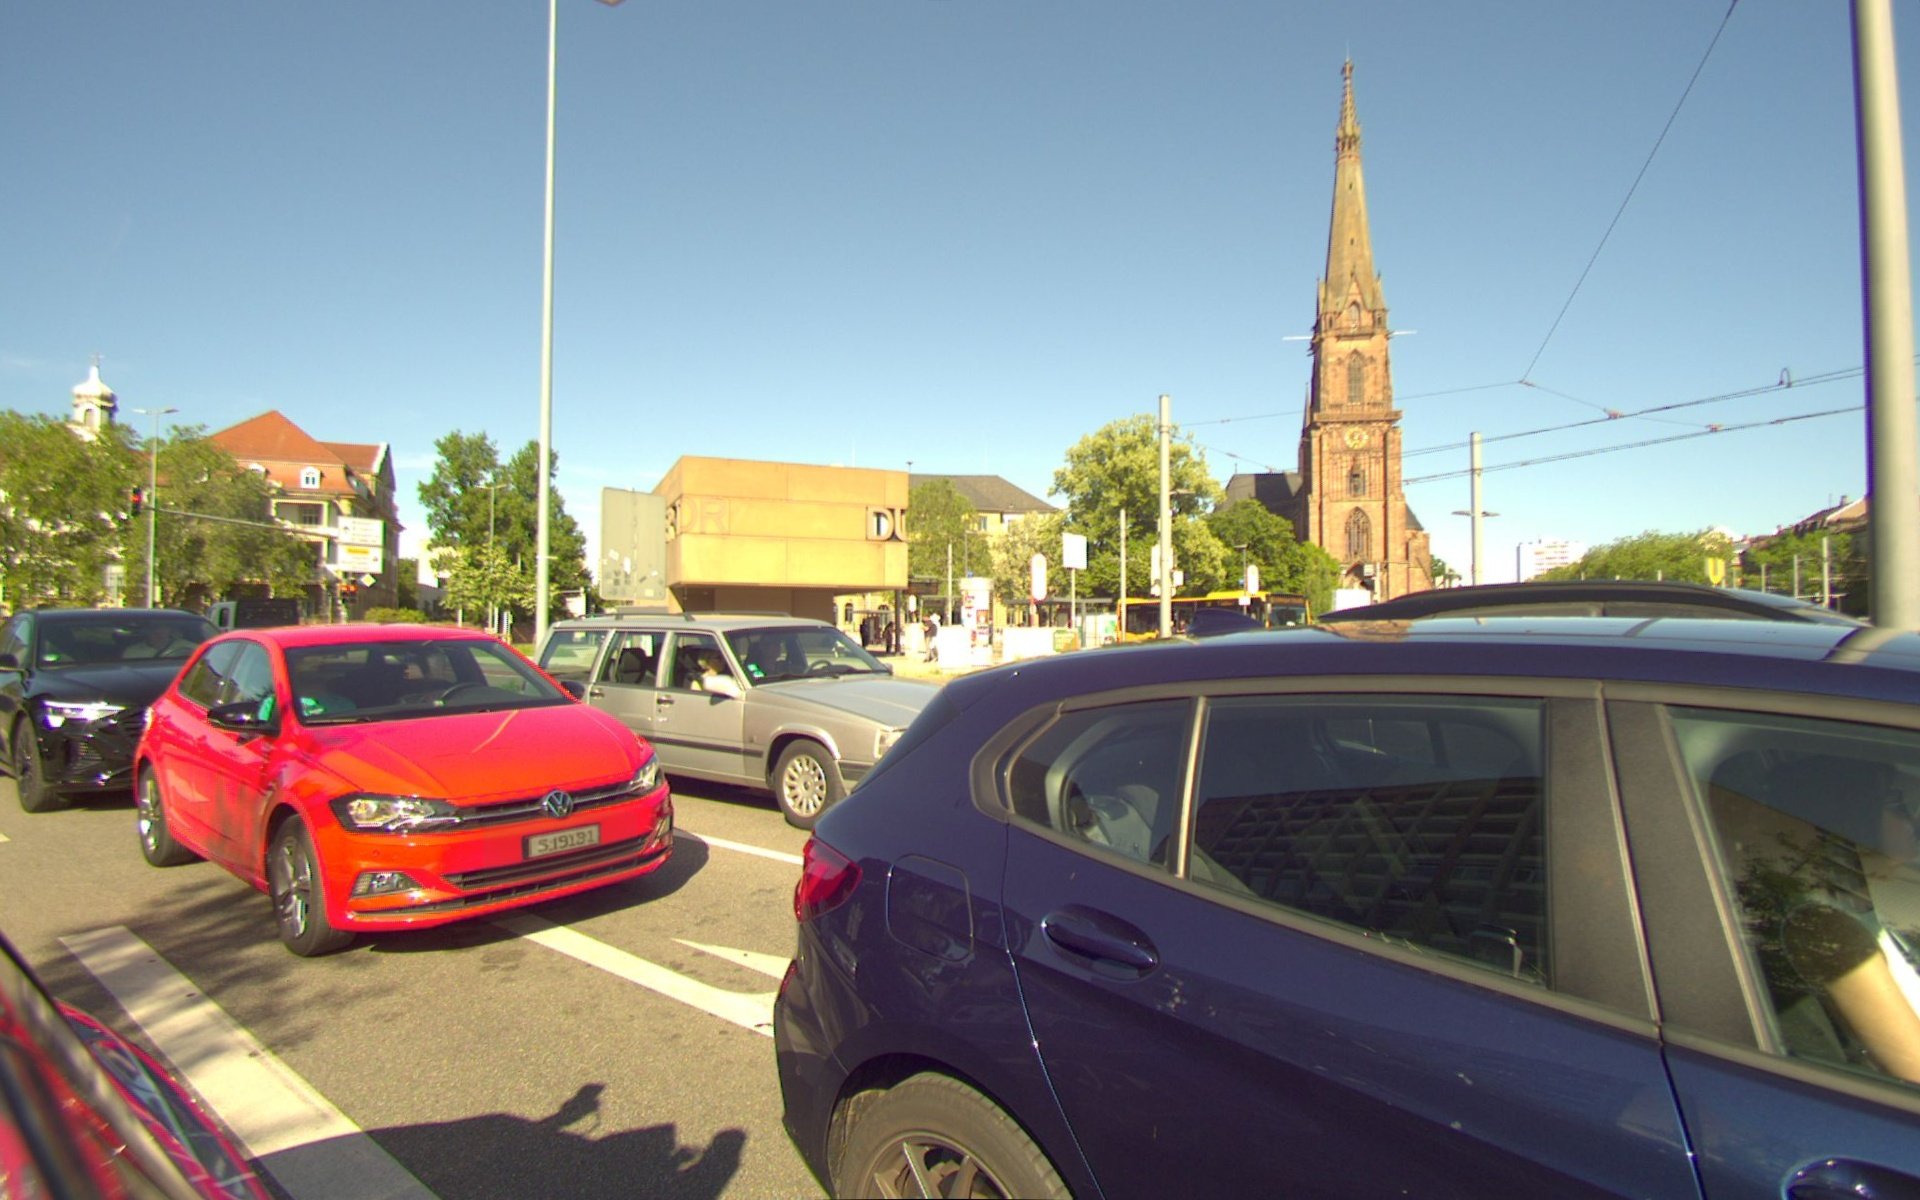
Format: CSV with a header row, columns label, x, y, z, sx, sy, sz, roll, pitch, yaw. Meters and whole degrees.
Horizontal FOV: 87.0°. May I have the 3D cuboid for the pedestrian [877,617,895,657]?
label,x,y,z,sx,sy,sz,roll,pitch,yaw
pedestrian,-3.299,1.649,45.081,0.468,1.789,0.638,-2,-2,36

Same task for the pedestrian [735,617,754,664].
label,x,y,z,sx,sy,sz,roll,pitch,yaw
pedestrian,-8.143,1.528,38.266,0.635,1.789,0.618,0,-2,-8

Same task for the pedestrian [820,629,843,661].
label,x,y,z,sx,sy,sz,roll,pitch,yaw
pedestrian,-5.485,1.920,43.160,0.635,1.320,0.764,1,-2,-40

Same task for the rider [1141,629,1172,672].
label,x,y,z,sx,sy,sz,roll,pitch,yaw
rider,6.882,1.768,35.454,0.847,1.475,0.671,0,-2,-12

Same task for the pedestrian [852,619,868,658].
label,x,y,z,sx,sy,sz,roll,pitch,yaw
pedestrian,-4.594,1.757,46.473,0.468,1.789,0.638,-2,-2,36

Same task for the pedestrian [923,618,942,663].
label,x,y,z,sx,sy,sz,roll,pitch,yaw
pedestrian,-1.102,1.644,40.859,0.634,1.789,0.470,1,-2,-29

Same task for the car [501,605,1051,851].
label,x,y,z,sx,sy,sz,roll,pitch,yaw
car,-1.713,0.822,8.247,4.745,1.484,1.692,-1,-1,38

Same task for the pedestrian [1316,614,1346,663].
label,x,y,z,sx,sy,sz,roll,pitch,yaw
pedestrian,14.109,1.461,38.487,0.882,1.869,0.679,-2,-3,41

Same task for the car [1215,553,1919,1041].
label,x,y,z,sx,sy,sz,roll,pitch,yaw
car,3.279,0.632,4.117,4.010,1.529,1.738,-2,-2,44

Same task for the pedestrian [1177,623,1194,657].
label,x,y,z,sx,sy,sz,roll,pitch,yaw
pedestrian,10.347,1.849,46.461,0.552,1.525,0.529,-1,-1,-9

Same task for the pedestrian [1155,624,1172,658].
label,x,y,z,sx,sy,sz,roll,pitch,yaw
pedestrian,9.374,1.866,46.586,0.561,1.525,0.529,-1,-1,-9

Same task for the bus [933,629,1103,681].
label,x,y,z,sx,sy,sz,roll,pitch,yaw
bus,1.452,1.374,26.159,4.174,1.251,1.627,-1,-2,35

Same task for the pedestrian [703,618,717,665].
label,x,y,z,sx,sy,sz,roll,pitch,yaw
pedestrian,-9.545,1.590,38.641,0.460,1.789,0.648,0,-2,-21

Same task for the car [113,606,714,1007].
label,x,y,z,sx,sy,sz,roll,pitch,yaw
car,-3.231,0.812,5.651,3.850,1.484,1.653,-2,-1,40

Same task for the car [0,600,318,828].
label,x,y,z,sx,sy,sz,roll,pitch,yaw
car,-7.840,0.880,9.333,4.446,1.628,1.836,-1,-2,38

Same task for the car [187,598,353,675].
label,x,y,z,sx,sy,sz,roll,pitch,yaw
car,-22.645,1.169,33.124,6.191,2.331,2.095,-1,-2,31

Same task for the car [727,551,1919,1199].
label,x,y,z,sx,sy,sz,roll,pitch,yaw
car,1.586,0.678,1.371,4.030,1.456,1.692,-1,-1,42

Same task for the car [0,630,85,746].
label,x,y,z,sx,sy,sz,roll,pitch,yaw
car,-13.612,1.151,13.883,3.704,1.429,1.557,-1,-1,35

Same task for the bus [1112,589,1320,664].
label,x,y,z,sx,sy,sz,roll,pitch,yaw
bus,11.640,1.318,48.112,2.715,3.088,12.201,1,-2,-23

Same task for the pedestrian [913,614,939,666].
label,x,y,z,sx,sy,sz,roll,pitch,yaw
pedestrian,-1.186,1.413,35.707,0.664,1.802,0.640,-1,-1,27
